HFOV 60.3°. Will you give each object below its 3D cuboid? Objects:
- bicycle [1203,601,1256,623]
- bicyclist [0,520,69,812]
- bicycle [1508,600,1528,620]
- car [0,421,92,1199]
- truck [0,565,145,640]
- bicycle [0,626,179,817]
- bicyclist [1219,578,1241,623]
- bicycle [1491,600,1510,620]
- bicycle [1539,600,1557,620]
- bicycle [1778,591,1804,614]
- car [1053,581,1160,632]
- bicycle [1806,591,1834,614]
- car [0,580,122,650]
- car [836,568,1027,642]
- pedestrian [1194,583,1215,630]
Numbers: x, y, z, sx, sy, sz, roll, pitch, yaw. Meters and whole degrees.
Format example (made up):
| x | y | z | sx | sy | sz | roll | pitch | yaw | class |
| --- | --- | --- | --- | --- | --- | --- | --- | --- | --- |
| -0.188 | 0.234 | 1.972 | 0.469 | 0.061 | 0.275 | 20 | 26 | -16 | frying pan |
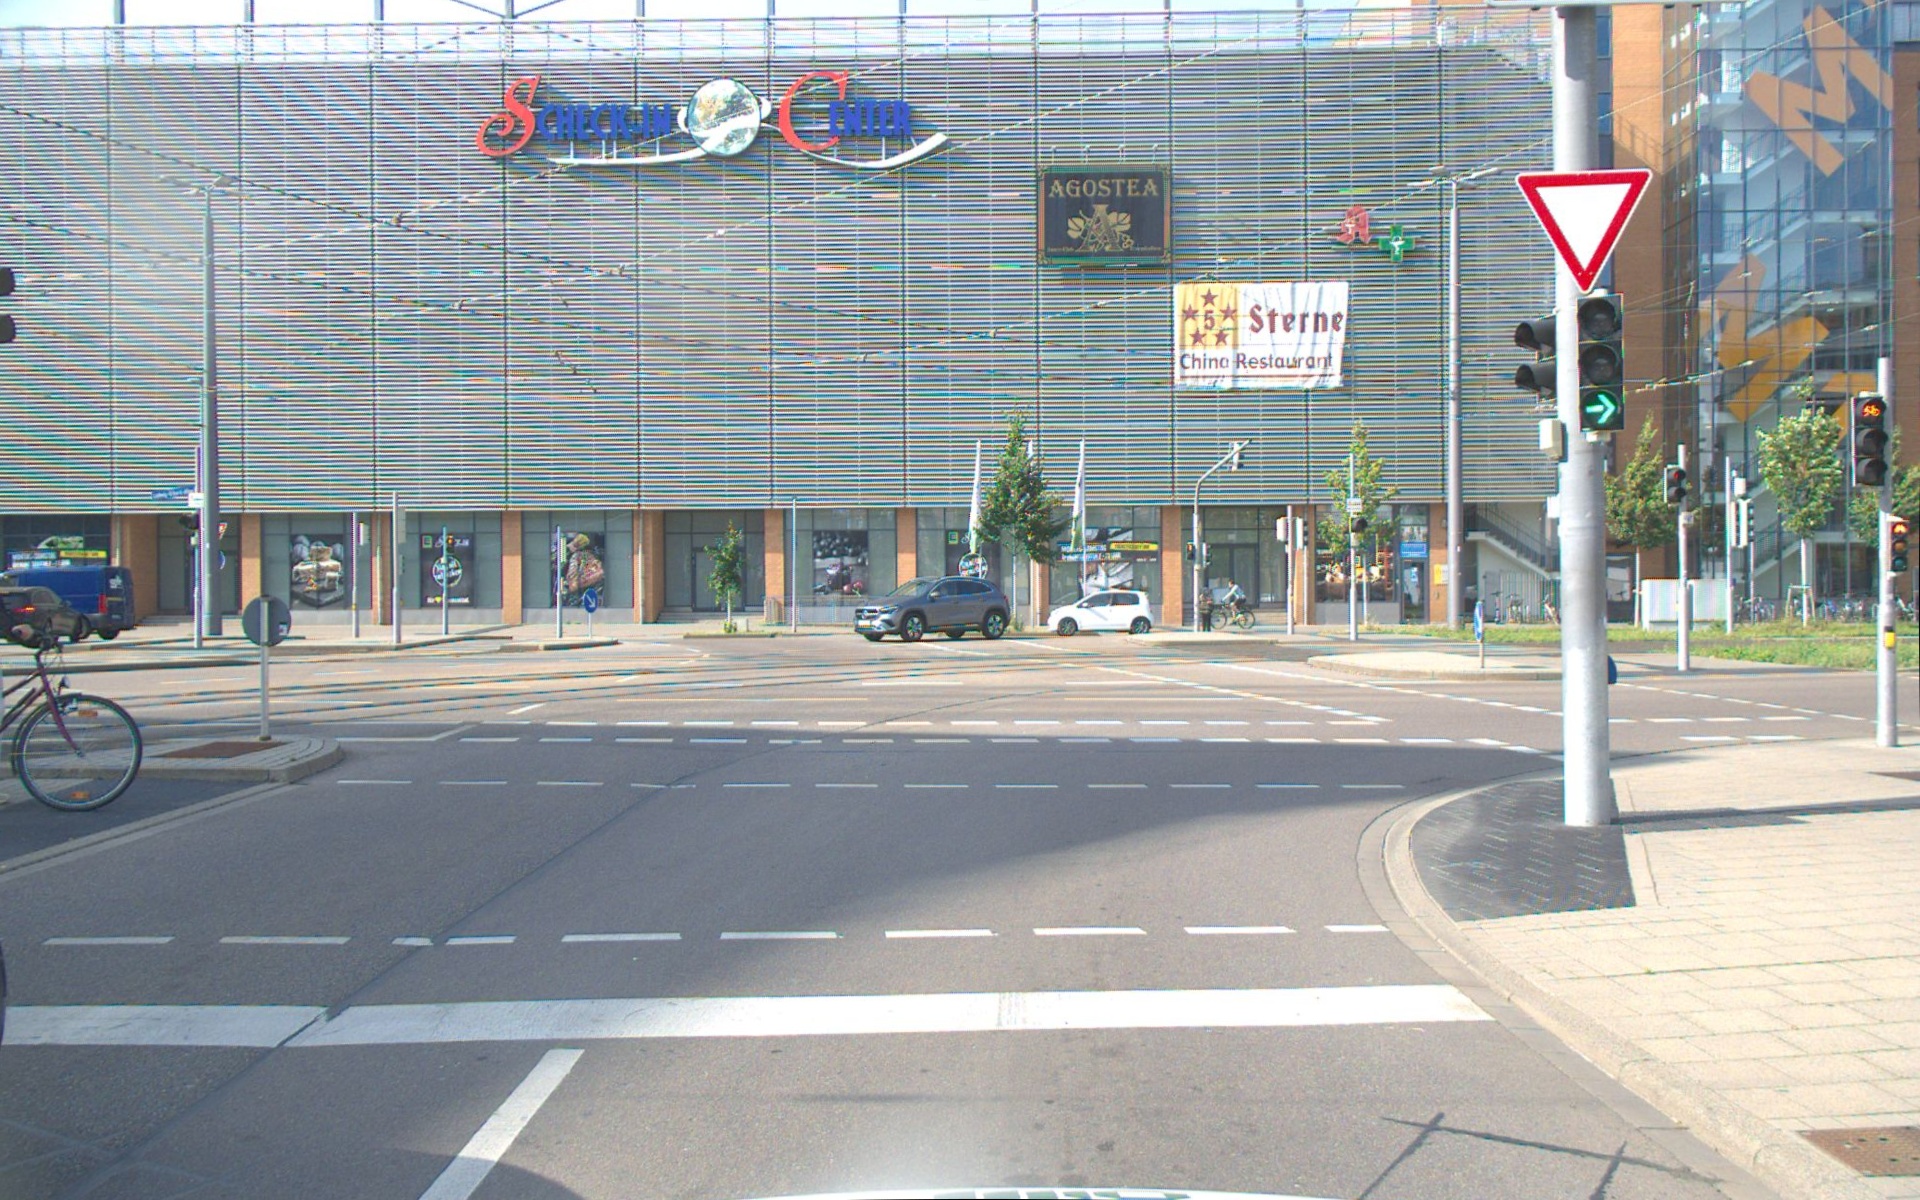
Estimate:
| x | y | z | sx | sy | sz | roll | pitch | yaw | class |
| --- | --- | --- | --- | --- | --- | --- | --- | --- | --- |
| 9.948 | 0.447 | 61.041 | 1.825 | 0.793 | 0.582 | 1 | 0 | -3 | bicycle |
| -5.922 | 0.390 | 10.104 | 0.623 | 1.732 | 0.668 | 1 | -1 | -10 | bicyclist |
| 21.463 | 0.392 | 63.645 | 0.441 | 0.765 | 1.006 | -1 | 0 | 2 | bicycle |
| -2.931 | 0.495 | 1.770 | 1.760 | 1.707 | 4.221 | -1 | 0 | 0 | car |
| -29.310 | 0.085 | 53.856 | 4.446 | 2.362 | 2.206 | -1 | 0 | -4 | truck |
| -5.834 | 0.723 | 10.114 | 1.766 | 1.117 | 0.668 | 1 | 0 | -10 | bicycle |
| 9.973 | 0.027 | 61.045 | 0.697 | 1.658 | 0.568 | 1 | -1 | -1 | bicyclist |
| 20.858 | 0.382 | 63.846 | 0.441 | 0.765 | 1.006 | -1 | 0 | 2 | bicycle |
| 22.625 | 0.380 | 63.608 | 0.352 | 0.765 | 1.024 | -1 | 0 | 2 | bicycle |
| 33.117 | 0.087 | 65.936 | 0.251 | 0.902 | 1.467 | 1 | 0 | -3 | bicycle |
| 4.761 | 0.203 | 53.995 | 3.321 | 1.587 | 1.743 | 1 | 0 | 0 | car |
| 34.317 | 0.086 | 66.000 | 0.251 | 0.845 | 1.468 | 1 | 2 | -3 | bicycle |
| -23.952 | 0.369 | 42.978 | 1.951 | 1.725 | 4.003 | 0 | 0 | 7 | car |
| -0.688 | 0.154 | 42.423 | 4.768 | 1.814 | 1.928 | 1 | 0 | -40 | car |
| 8.400 | 0.211 | 56.874 | 0.576 | 1.607 | 0.763 | 0 | 0 | -3 | pedestrian |
